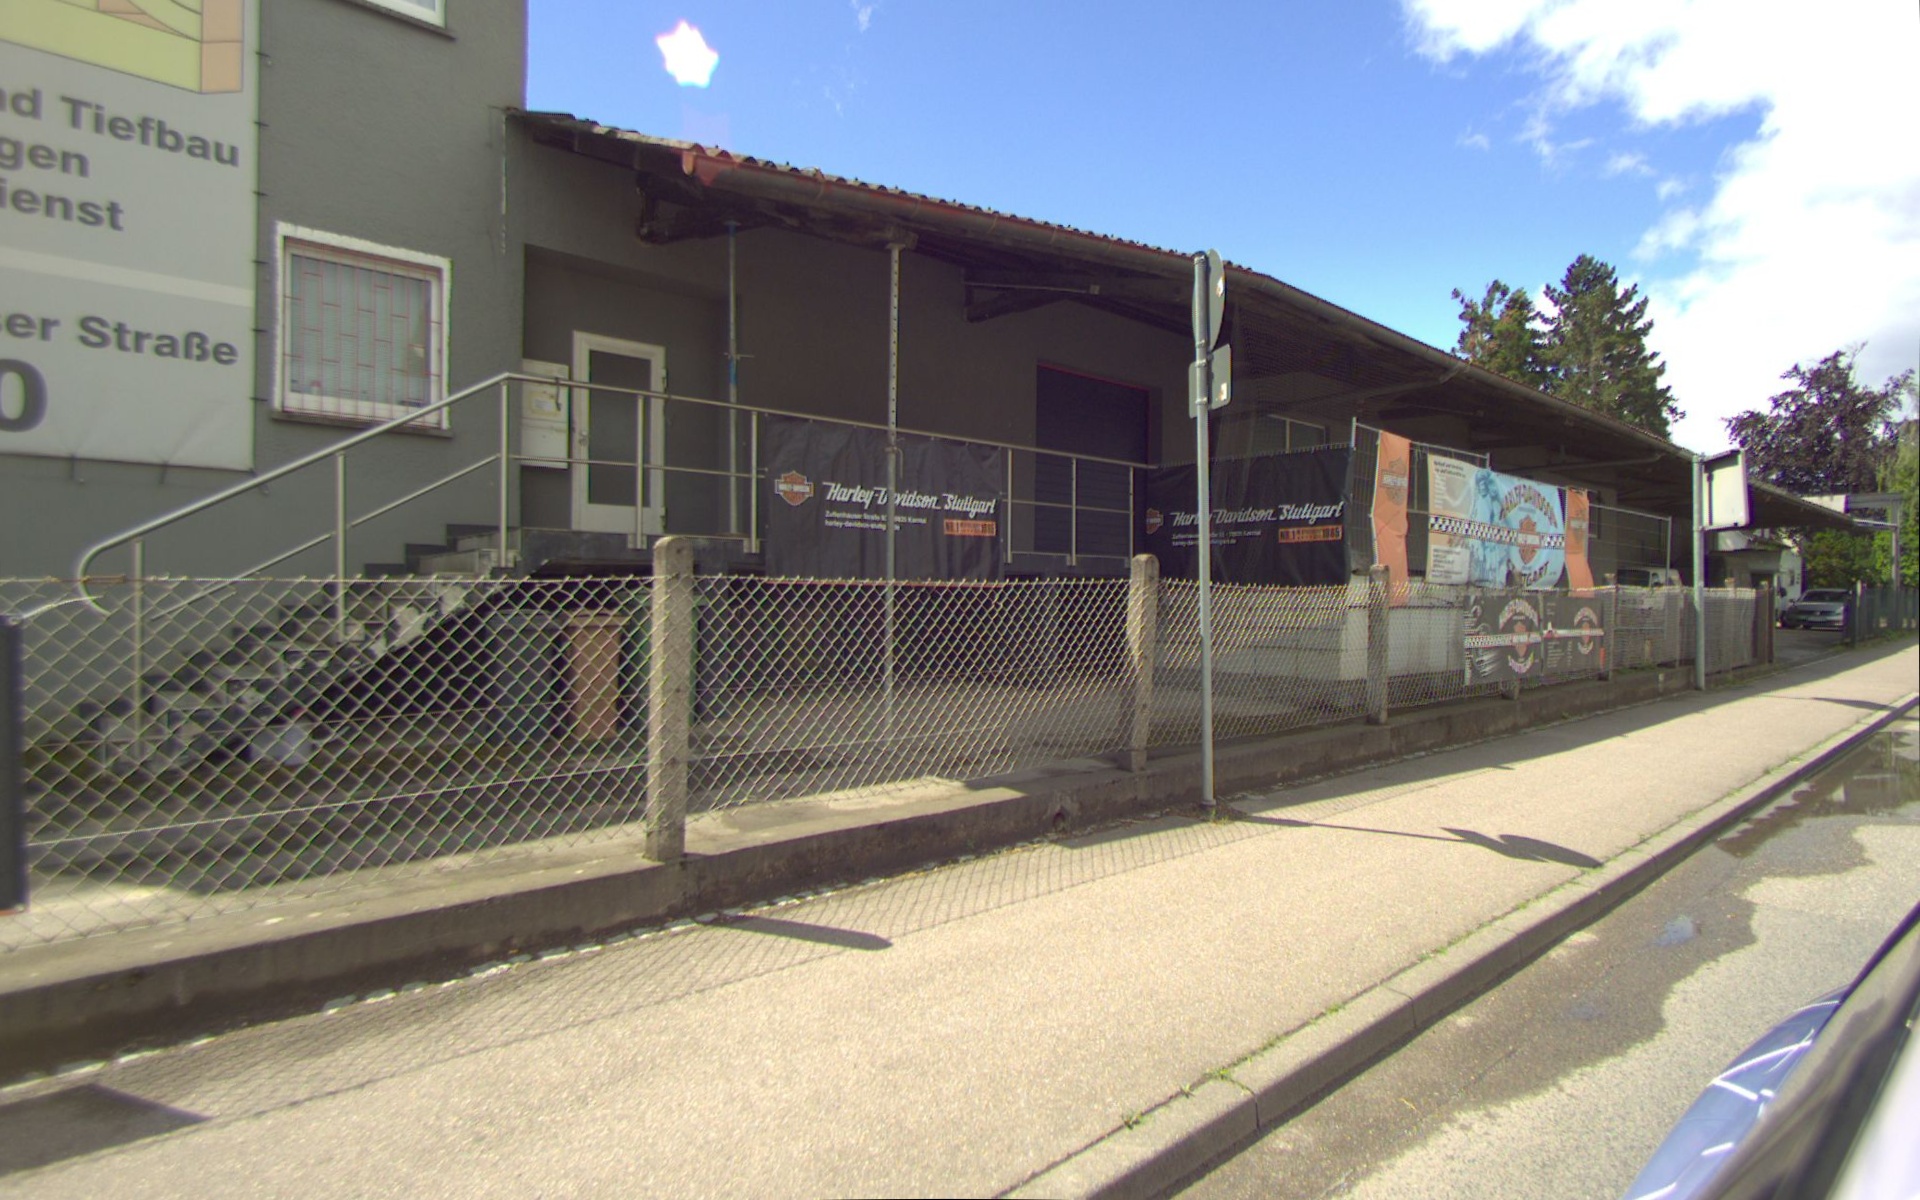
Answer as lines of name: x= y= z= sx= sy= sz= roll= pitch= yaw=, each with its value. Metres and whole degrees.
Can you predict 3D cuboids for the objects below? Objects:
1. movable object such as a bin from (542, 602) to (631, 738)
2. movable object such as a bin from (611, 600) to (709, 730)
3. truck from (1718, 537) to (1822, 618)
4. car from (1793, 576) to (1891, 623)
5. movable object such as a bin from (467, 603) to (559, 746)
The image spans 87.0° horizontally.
movable object such as a bin: x=-2.750 y=0.491 z=7.445 sx=0.466 sy=0.942 sz=0.482 roll=-1 pitch=0 yaw=-41
movable object such as a bin: x=-2.320 y=0.481 z=7.830 sx=0.574 sy=0.942 sz=0.482 roll=-1 pitch=0 yaw=-41
truck: x=30.649 y=-0.842 z=38.233 sx=5.111 sy=2.864 sz=2.090 roll=-1 pitch=1 yaw=-40
car: x=31.068 y=-0.057 z=35.594 sx=5.111 sy=1.549 sz=1.861 roll=-1 pitch=1 yaw=-40
movable object such as a bin: x=-3.138 y=0.500 z=7.101 sx=0.466 sy=0.942 sz=0.482 roll=-1 pitch=0 yaw=-41
